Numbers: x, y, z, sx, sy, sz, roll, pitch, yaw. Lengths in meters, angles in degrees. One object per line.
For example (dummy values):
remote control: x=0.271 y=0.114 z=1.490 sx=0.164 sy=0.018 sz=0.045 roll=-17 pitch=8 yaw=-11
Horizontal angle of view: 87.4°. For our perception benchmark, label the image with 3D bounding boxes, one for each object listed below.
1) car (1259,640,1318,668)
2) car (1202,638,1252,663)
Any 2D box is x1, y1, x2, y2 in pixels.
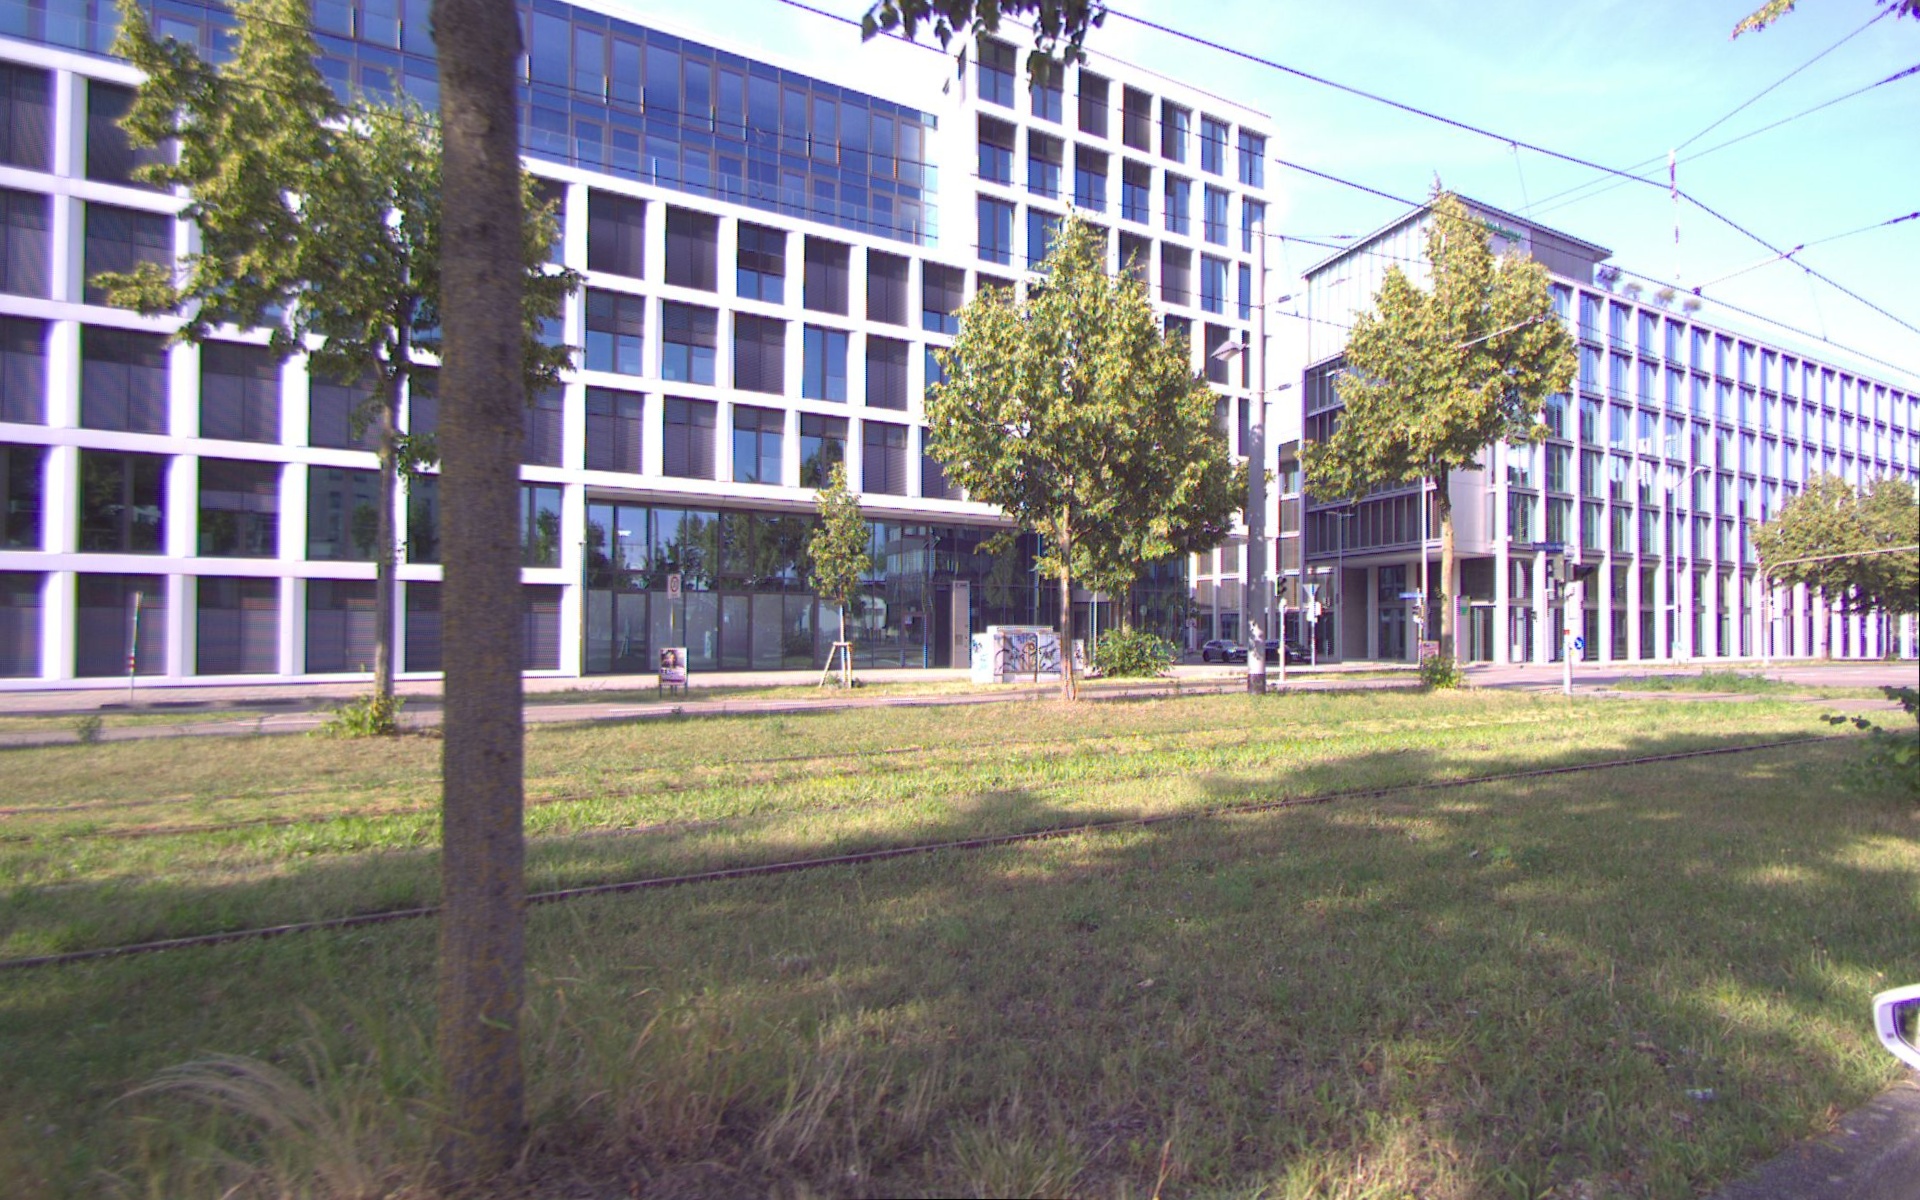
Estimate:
car: x=19.501 y=3.179 z=59.779 sx=1.551 sy=1.443 sz=3.497 roll=2 pitch=0 yaw=-19
car: x=17.671 y=3.311 z=66.663 sx=1.549 sy=1.443 sz=3.667 roll=2 pitch=0 yaw=-15
